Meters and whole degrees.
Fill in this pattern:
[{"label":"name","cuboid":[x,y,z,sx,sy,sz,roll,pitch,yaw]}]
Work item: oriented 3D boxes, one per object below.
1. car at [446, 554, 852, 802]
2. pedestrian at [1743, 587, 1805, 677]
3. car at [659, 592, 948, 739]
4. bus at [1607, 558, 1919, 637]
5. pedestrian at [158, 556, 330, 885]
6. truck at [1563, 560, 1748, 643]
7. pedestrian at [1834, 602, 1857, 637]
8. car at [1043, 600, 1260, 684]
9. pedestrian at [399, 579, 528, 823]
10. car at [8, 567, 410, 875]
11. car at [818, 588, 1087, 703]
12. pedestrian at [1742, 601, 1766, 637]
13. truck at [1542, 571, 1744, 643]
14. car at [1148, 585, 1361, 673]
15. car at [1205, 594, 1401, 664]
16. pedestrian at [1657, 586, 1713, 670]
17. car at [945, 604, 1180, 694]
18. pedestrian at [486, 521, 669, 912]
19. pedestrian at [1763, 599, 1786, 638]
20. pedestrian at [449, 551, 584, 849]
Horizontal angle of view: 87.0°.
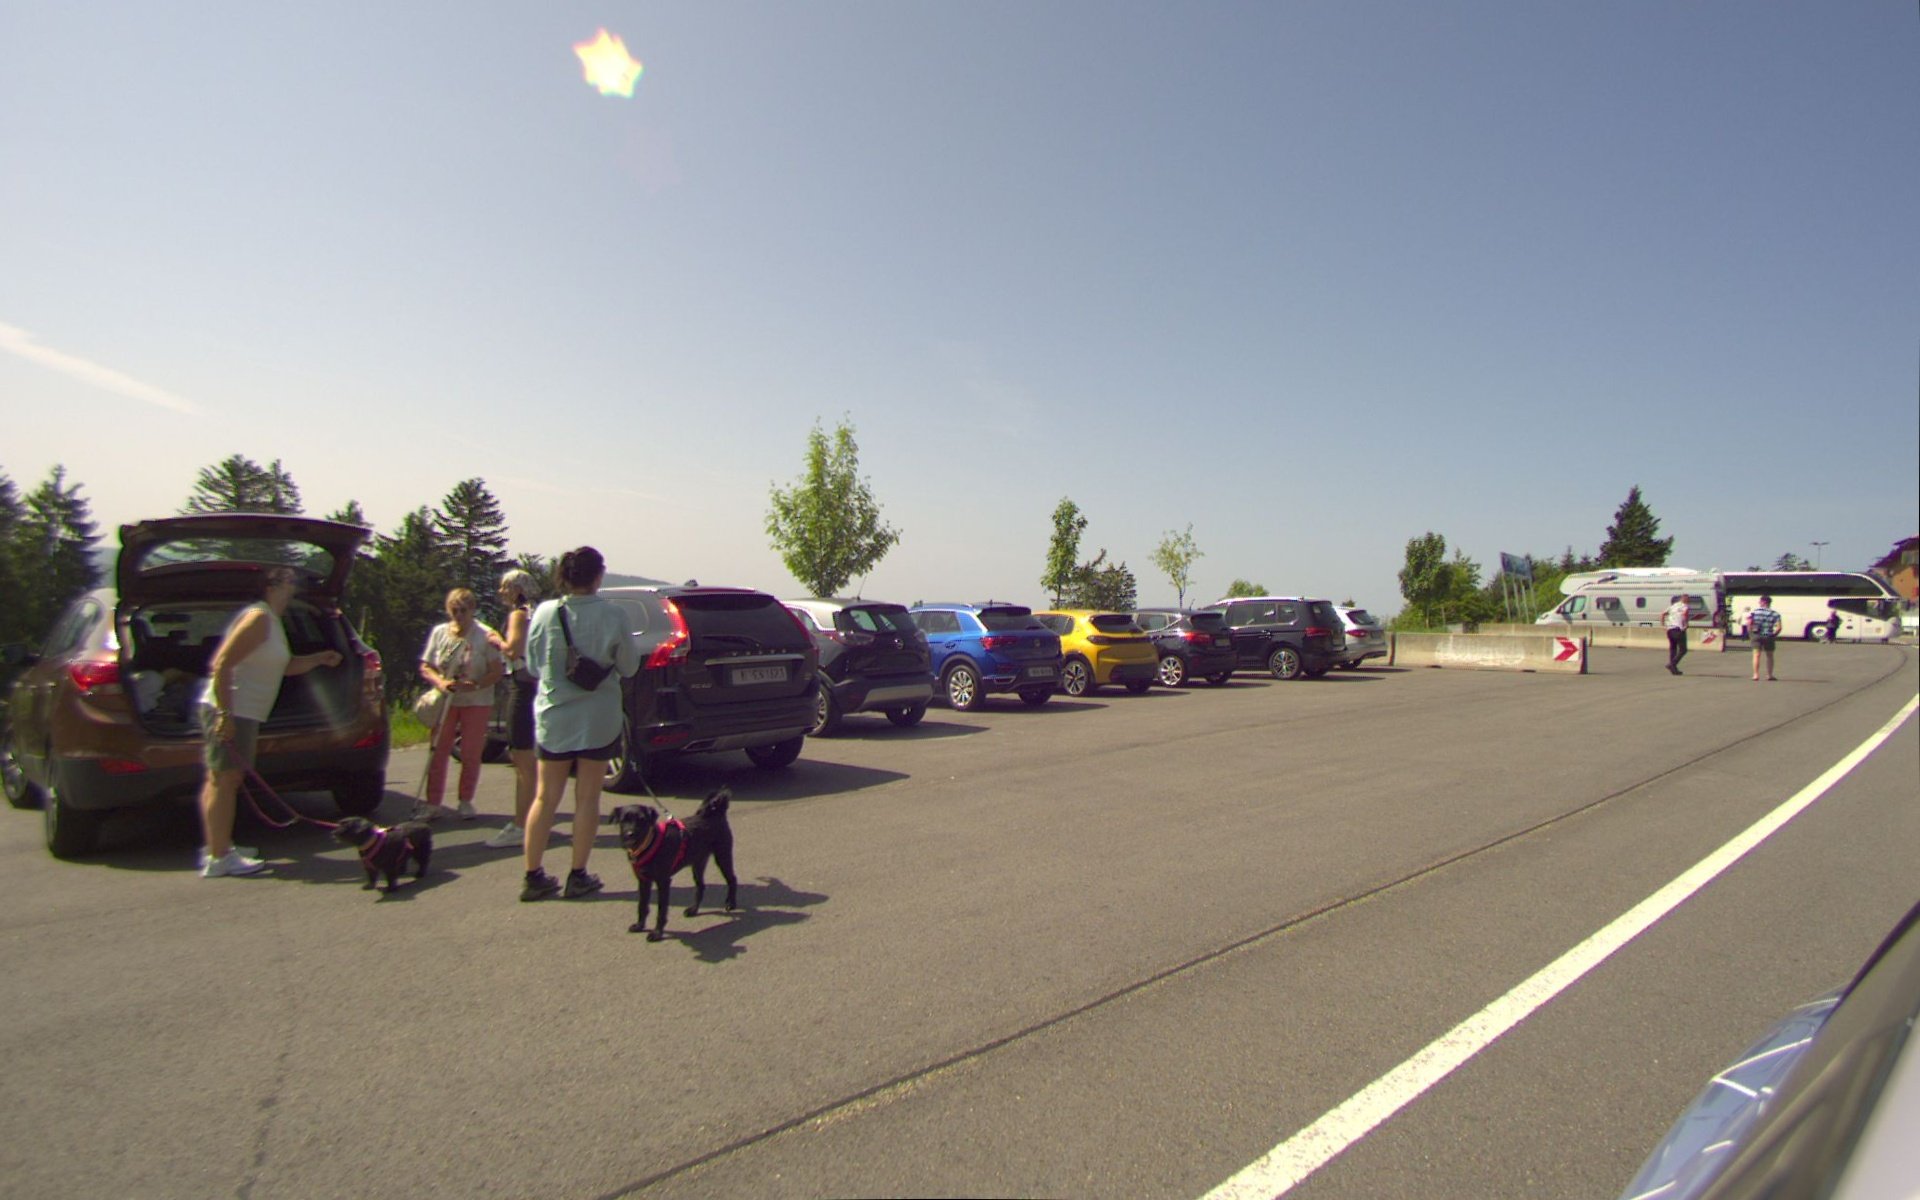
[{"label":"car","cuboid":[-3.109,0.576,9.592,4.264,1.817,1.862,0,-1,45]},{"label":"pedestrian","cuboid":[16.578,0.629,20.608,0.760,1.782,0.757,1,0,-31]},{"label":"car","cuboid":[-2.070,0.707,12.846,3.746,1.587,1.577,0,0,40]},{"label":"bus","cuboid":[40.787,-0.245,51.618,2.792,3.622,12.858,1,0,-44]},{"label":"pedestrian","cuboid":[-3.939,0.620,5.625,0.674,1.681,0.655,3,0,-32]},{"label":"truck","cuboid":[28.962,0.009,42.287,6.062,3.236,2.493,2,1,43]},{"label":"pedestrian","cuboid":[40.862,0.884,46.695,0.615,1.587,0.632,1,0,-32]},{"label":"car","cuboid":[3.648,0.814,19.887,1.732,1.455,4.004,0,-2,-39]},{"label":"pedestrian","cuboid":[-3.469,0.672,7.108,0.720,1.607,0.620,3,0,-25]},{"label":"car","cuboid":[-5.635,0.697,7.426,3.812,1.682,1.628,-2,-1,41]},{"label":"car","cuboid":[-0.206,0.661,15.692,3.984,1.556,1.779,0,-4,42]},{"label":"pedestrian","cuboid":[37.021,0.873,47.200,0.615,1.672,0.633,1,0,-21]},{"label":"truck","cuboid":[26.741,0.219,39.852,2.302,2.623,6.265,2,0,-44]},{"label":"car","cuboid":[6.083,0.610,21.194,3.984,1.668,1.576,-2,-2,42]},{"label":"car","cuboid":[7.938,0.669,23.641,3.985,1.495,1.746,-2,-2,43]},{"label":"pedestrian","cuboid":[15.639,0.591,21.838,0.876,1.763,0.667,1,0,-31]},{"label":"car","cuboid":[1.734,0.781,18.129,1.952,1.370,3.995,0,0,-40]},{"label":"pedestrian","cuboid":[-1.937,0.533,5.121,0.710,1.798,0.618,1,0,-37]},{"label":"pedestrian","cuboid":[37.351,0.831,46.405,0.615,1.780,0.632,1,0,-32]},{"label":"pedestrian","cuboid":[-2.771,0.575,6.308,0.607,1.714,0.718,1,0,-38]}]
